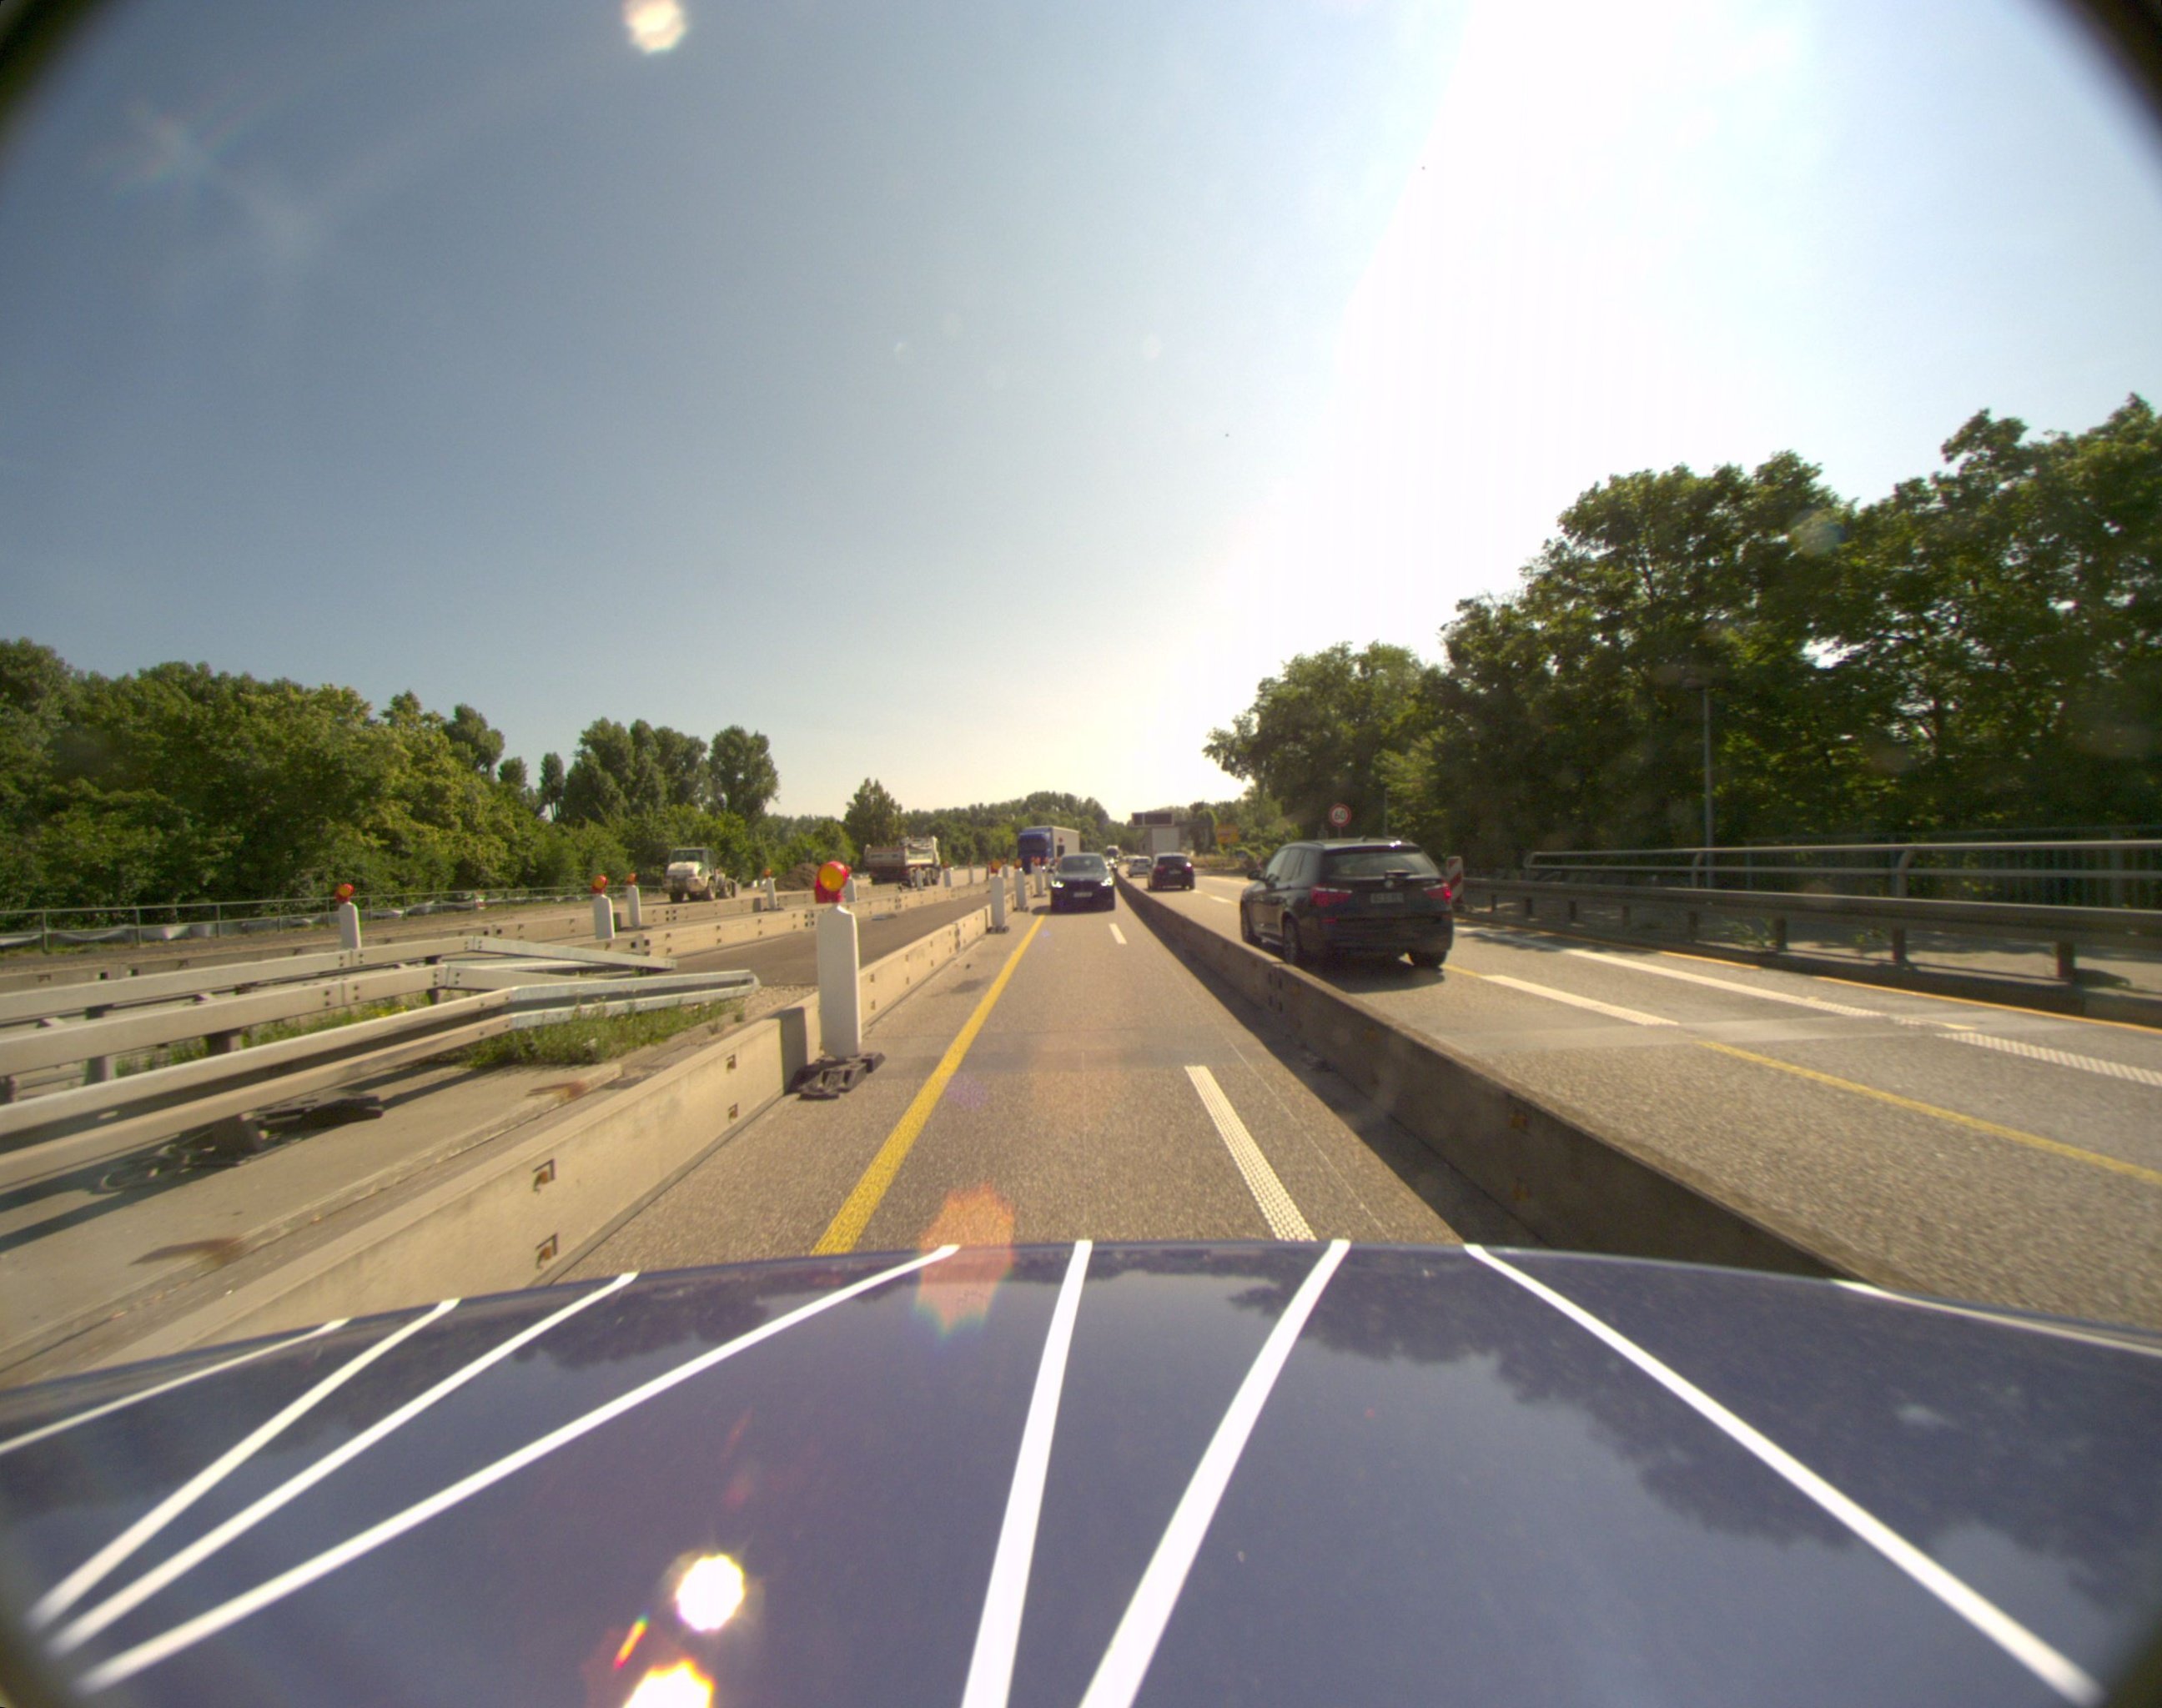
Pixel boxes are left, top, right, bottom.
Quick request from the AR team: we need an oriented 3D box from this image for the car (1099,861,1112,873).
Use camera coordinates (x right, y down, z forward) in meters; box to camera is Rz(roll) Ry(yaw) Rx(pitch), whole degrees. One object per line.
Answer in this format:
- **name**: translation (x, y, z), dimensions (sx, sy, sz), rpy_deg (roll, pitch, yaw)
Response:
- **car**: translation (3.459, 1.774, 105.276), dimensions (1.747, 1.621, 4.093), rpy_deg (-1, 0, 3)

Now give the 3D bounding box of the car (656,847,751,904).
- **car**: translation (-18.769, 0.981, 38.189), dimensions (2.110, 2.627, 5.982), rpy_deg (-1, 0, -4)

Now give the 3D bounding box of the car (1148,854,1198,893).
- **car**: translation (3.968, 0.785, 33.217), dimensions (1.742, 1.543, 3.943), rpy_deg (-2, 0, 1)

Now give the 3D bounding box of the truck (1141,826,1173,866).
- **truck**: translation (7.895, -0.781, 79.560), dimensions (2.821, 3.967, 5.986), rpy_deg (-1, 0, 2)

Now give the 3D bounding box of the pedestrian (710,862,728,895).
- **pedestrian**: translation (-19.830, 1.336, 41.622), dimensions (0.666, 1.738, 0.532), rpy_deg (-2, 1, -4)

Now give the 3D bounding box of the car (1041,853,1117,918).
- **car**: translation (0.055, 0.876, 23.359), dimensions (1.788, 1.651, 4.488), rpy_deg (-4, 0, 6)

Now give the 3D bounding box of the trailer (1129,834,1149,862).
- **trailer**: translation (9.072, -0.964, 119.314), dimensions (2.626, 4.103, 14.069), rpy_deg (-1, 0, 3)

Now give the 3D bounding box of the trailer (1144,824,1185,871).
- **trailer**: translation (7.731, -0.556, 72.282), dimensions (2.810, 4.019, 13.469), rpy_deg (-1, 0, 2)

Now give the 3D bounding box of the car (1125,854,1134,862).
- **car**: translation (12.746, 0.977, 198.311), dimensions (1.997, 2.002, 4.002), rpy_deg (-1, 0, 7)

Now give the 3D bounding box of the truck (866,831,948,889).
- **truck**: translation (-11.187, 0.314, 49.857), dimensions (2.605, 3.413, 8.737), rpy_deg (-1, 0, 5)

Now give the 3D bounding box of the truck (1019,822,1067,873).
- **truck**: translation (-3.098, -0.543, 64.199), dimensions (2.860, 3.962, 8.668), rpy_deg (-1, 0, 4)

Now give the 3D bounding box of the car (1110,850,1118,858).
- **car**: translation (7.360, -0.044, 169.485), dimensions (1.746, 1.621, 4.093), rpy_deg (-1, 0, 5)

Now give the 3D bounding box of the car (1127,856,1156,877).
- **car**: translation (4.272, 0.856, 54.140), dimensions (1.818, 1.409, 4.154), rpy_deg (-2, 0, 2)

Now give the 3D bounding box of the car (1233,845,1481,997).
- **car**: translation (3.483, 0.740, 10.637), dimensions (1.867, 1.622, 4.566), rpy_deg (-2, 0, 1)
